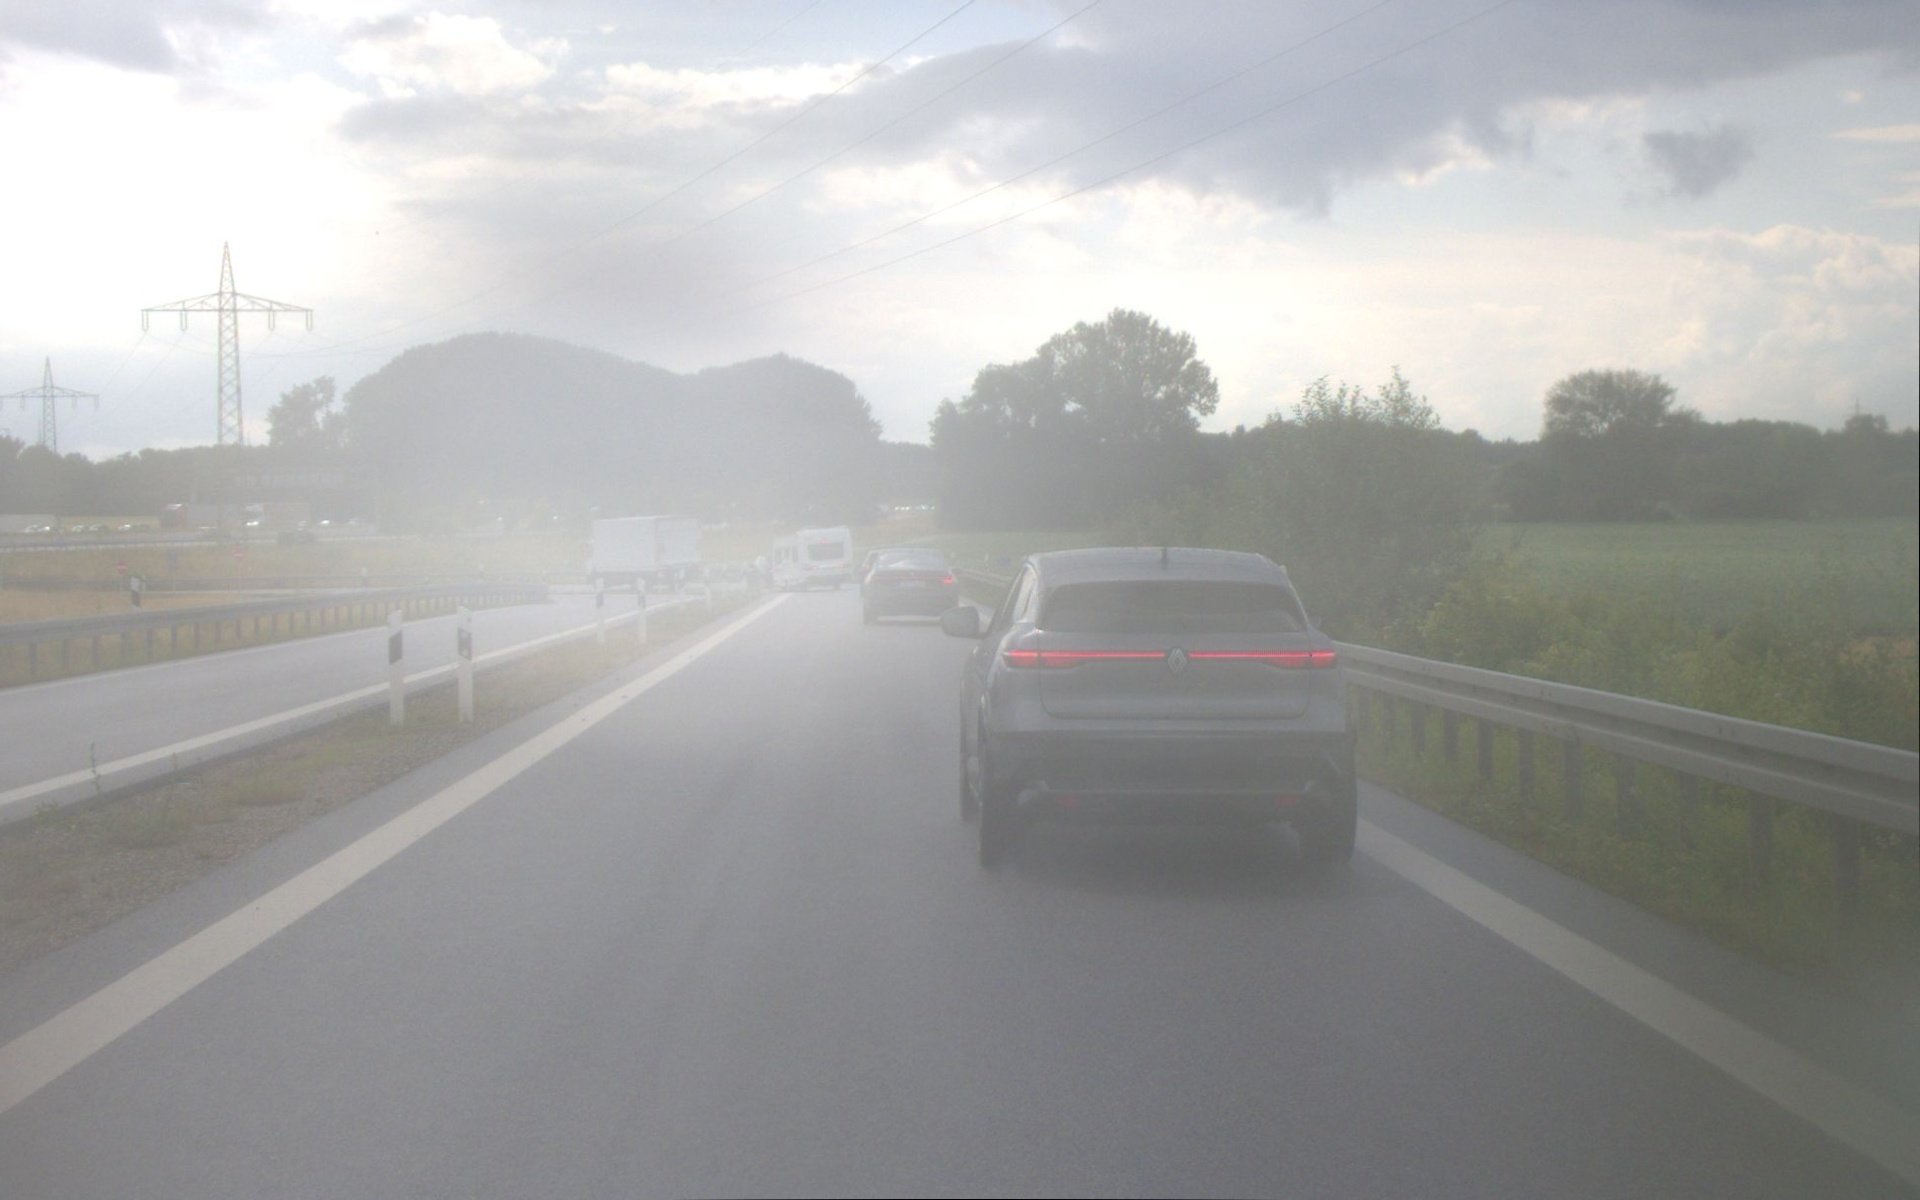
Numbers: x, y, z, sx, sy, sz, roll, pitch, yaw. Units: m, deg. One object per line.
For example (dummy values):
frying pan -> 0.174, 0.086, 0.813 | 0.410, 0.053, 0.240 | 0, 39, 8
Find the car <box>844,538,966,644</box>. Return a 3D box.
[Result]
car -> -1.160, -0.224, 69.679 | 2.121, 2.011, 5.535 | -1, 1, -4

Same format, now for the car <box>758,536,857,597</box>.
car -> -6.459, -1.444, 145.054 | 2.351, 2.299, 5.130 | -2, 4, -25

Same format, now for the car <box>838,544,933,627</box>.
car -> -2.363, -0.483, 107.900 | 2.350, 2.299, 5.130 | -1, 3, -8

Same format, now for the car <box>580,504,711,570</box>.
car -> -15.451, -3.114, 168.483 | 3.136, 2.941, 7.208 | -3, 4, -35

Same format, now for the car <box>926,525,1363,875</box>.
car -> 0.877, 0.416, 17.899 | 1.993, 1.561, 4.149 | 1, 2, 1
